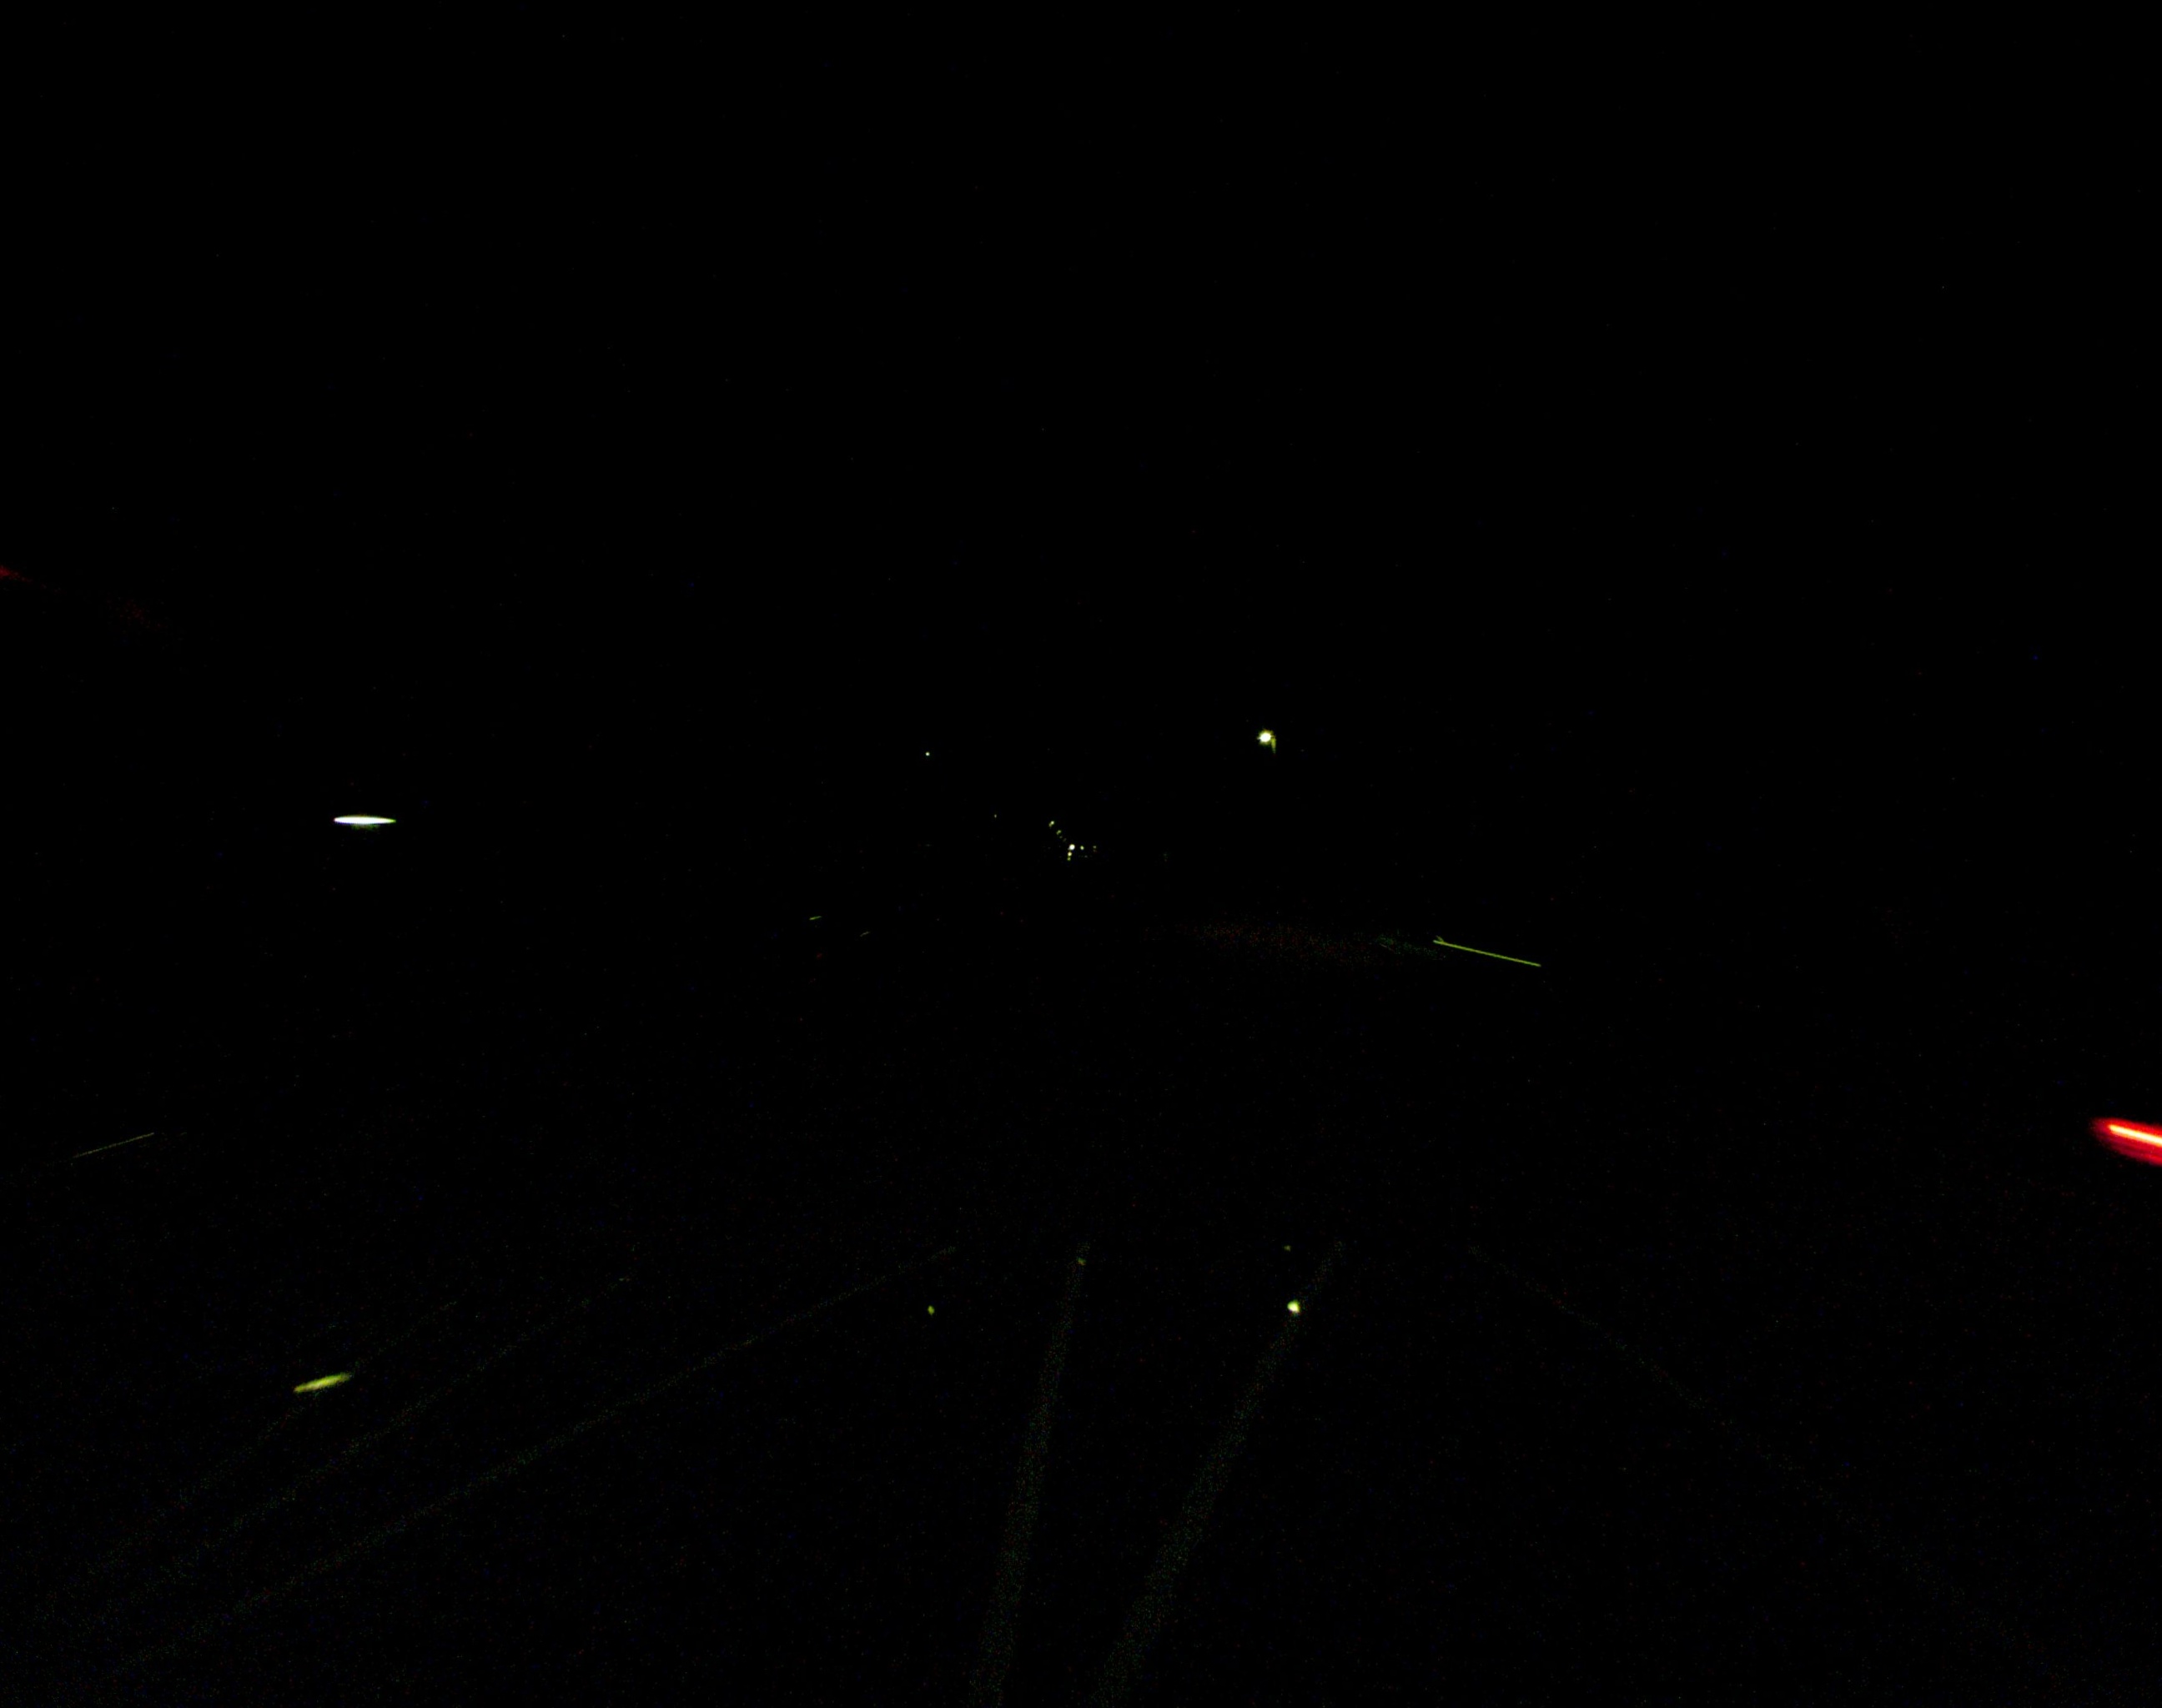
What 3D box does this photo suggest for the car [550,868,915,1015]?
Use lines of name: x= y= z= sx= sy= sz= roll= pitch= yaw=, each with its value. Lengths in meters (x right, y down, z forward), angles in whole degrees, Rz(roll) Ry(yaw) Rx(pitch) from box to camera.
car: x=-4.574 y=1.116 z=10.482 sx=3.997 sy=1.548 sz=2.000 roll=-4 pitch=0 yaw=1

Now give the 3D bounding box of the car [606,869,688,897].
car: x=-28.721 y=1.901 z=50.452 sx=4.660 sy=1.663 sz=1.928 roll=-1 pitch=0 yaw=-28

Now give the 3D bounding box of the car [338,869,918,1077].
car: x=-4.318 y=1.101 z=7.846 sx=4.665 sy=1.548 sz=2.107 roll=-4 pitch=0 yaw=3

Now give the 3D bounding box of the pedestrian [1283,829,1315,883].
pedestrian: x=8.022 y=0.059 z=27.972 sx=0.747 sy=1.893 sz=0.829 roll=-6 pitch=1 yaw=0

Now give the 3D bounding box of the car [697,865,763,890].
car: x=-24.362 y=1.631 z=52.864 sx=4.006 sy=1.589 sz=1.756 roll=-1 pitch=0 yaw=-22

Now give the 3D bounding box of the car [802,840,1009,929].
car: x=-4.754 y=0.814 z=21.263 sx=5.156 sy=2.084 sz=2.259 roll=-3 pitch=0 yaw=-1

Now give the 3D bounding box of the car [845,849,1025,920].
car: x=-4.481 y=0.919 z=24.003 sx=5.156 sy=1.834 sz=2.259 roll=-3 pitch=0 yaw=-1

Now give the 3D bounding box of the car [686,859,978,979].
car: x=-4.224 y=1.082 z=13.235 sx=4.284 sy=1.688 sz=2.001 roll=-4 pitch=0 yaw=11

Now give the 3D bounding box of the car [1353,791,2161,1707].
car: x=2.357 y=0.720 z=2.203 sx=1.724 sy=1.705 sz=3.961 roll=-3 pitch=0 yaw=1

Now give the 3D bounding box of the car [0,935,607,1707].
car: x=-4.248 y=1.159 z=2.259 sx=4.409 sy=1.411 sz=1.935 roll=-3 pitch=0 yaw=2
